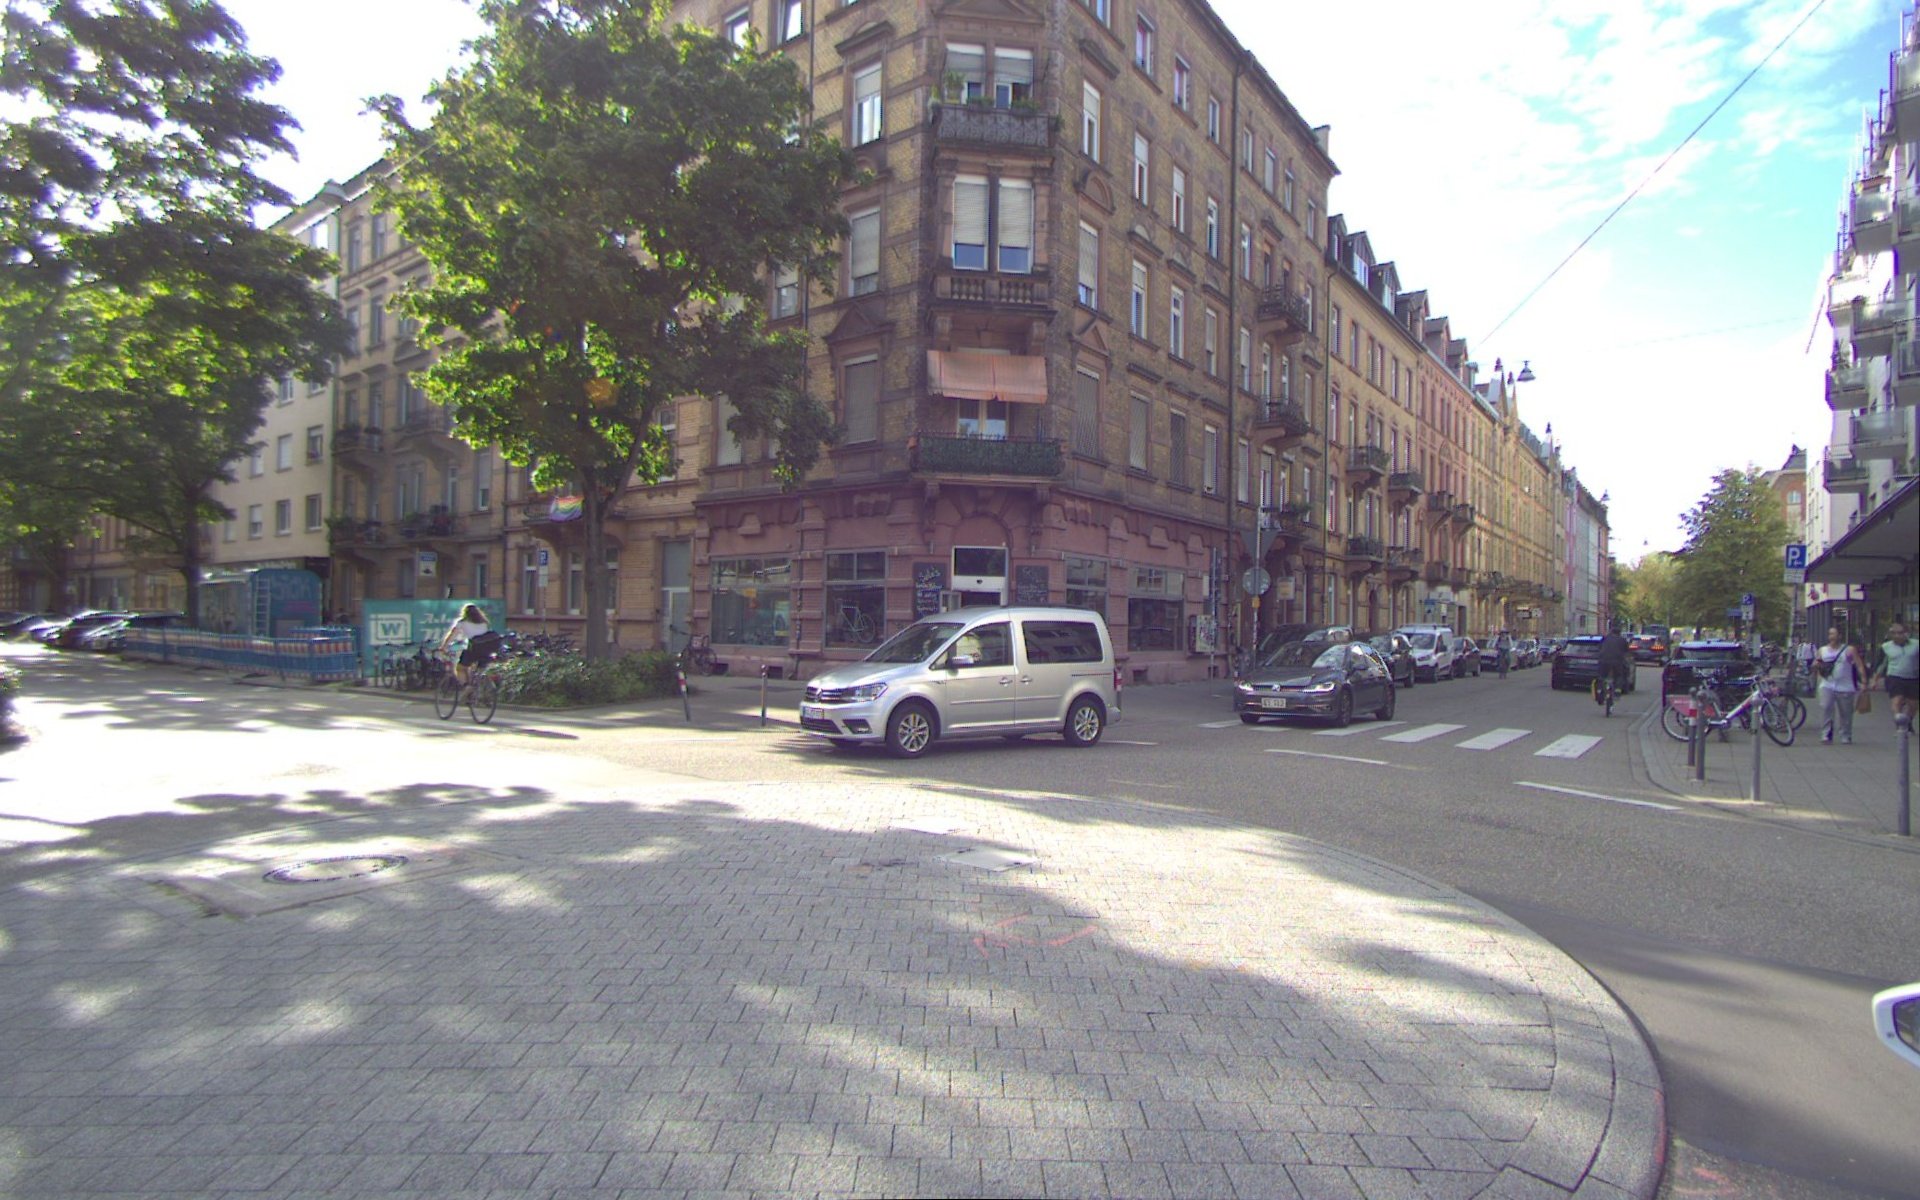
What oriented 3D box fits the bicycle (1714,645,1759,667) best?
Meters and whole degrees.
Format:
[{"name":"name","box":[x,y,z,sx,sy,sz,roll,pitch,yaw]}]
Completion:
[{"name":"bicycle","box":[39.494,2.863,51.127,1.741,1.070,0.410,-3,-2,33]}]

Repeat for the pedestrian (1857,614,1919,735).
[{"name":"pedestrian","box":[14.923,1.164,15.973,1.040,1.858,0.875,2,-3,-45]}]

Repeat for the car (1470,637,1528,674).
[{"name":"car","box":[24.496,2.479,45.595,1.719,1.503,3.968,2,-1,37]}]

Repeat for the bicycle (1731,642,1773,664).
[{"name":"bicycle","box":[43.680,2.920,55.413,0.493,1.174,1.789,0,-2,-26]}]

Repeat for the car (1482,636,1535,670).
[{"name":"car","box":[27.287,2.599,49.947,1.719,1.503,3.968,2,-1,37]}]

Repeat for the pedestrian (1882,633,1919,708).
[{"name":"pedestrian","box":[20.898,1.549,22.115,0.814,1.609,0.777,0,-2,39]}]

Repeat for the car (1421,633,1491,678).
[{"name":"car","box":[19.007,2.118,38.424,1.719,1.503,3.970,3,-1,36]}]

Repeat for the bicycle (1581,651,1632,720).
[{"name":"bicycle","box":[13.441,1.745,20.858,0.709,1.291,1.876,2,0,38]}]

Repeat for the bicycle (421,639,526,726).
[{"name":"bicycle","box":[-7.587,1.241,15.628,1.947,1.215,0.690,1,-1,39]}]

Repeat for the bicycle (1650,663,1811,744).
[{"name":"bicycle","box":[11.623,1.540,15.244,1.858,1.140,0.904,-3,-3,36]}]

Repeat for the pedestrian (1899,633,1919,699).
[{"name":"pedestrian","box":[27.469,1.885,28.734,0.635,1.885,0.706,1,-1,-23]}]

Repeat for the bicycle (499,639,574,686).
[{"name":"bicycle","box":[-10.083,1.467,23.874,2.041,1.025,0.590,0,0,32]}]

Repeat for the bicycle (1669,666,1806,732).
[{"name":"bicycle","box":[13.410,1.694,17.382,1.761,1.085,0.586,-2,-2,28]}]

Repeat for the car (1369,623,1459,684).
[{"name":"car","box":[15.505,1.756,34.191,1.895,1.896,4.421,1,-1,36]}]

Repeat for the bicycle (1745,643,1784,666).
[{"name":"bicycle","box":[41.266,2.782,51.539,1.477,1.161,0.410,-3,-2,38]}]

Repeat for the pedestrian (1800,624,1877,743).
[{"name":"pedestrian","box":[13.123,1.220,15.041,0.792,1.692,1.018,0,-3,38]}]

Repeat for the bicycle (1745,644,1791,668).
[{"name":"bicycle","box":[40.246,2.800,50.022,1.745,1.177,0.647,-3,-3,40]}]

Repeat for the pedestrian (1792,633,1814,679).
[{"name":"pedestrian","box":[33.032,2.183,39.349,0.604,1.749,1.122,-1,-1,38]}]

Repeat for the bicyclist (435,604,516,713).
[{"name":"bicyclist","box":[-7.517,0.877,15.571,1.110,1.608,0.690,1,-1,39]}]

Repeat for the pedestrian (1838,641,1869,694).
[{"name":"pedestrian","box":[27.745,2.082,31.201,0.636,1.609,0.777,-2,-3,39]}]

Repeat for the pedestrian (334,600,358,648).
[{"name":"pedestrian","box":[-23.771,0.938,38.873,0.512,1.842,0.622,0,-1,36]}]

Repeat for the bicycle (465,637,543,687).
[{"name":"bicycle","box":[-10.321,1.384,22.697,2.041,1.025,0.590,0,0,32]}]

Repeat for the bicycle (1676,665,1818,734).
[{"name":"bicycle","box":[13.111,1.649,16.803,1.761,1.085,0.568,-2,-2,28]}]

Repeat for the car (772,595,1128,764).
[{"name":"car","box":[-0.033,0.960,12.813,4.288,1.814,1.817,2,-3,-35]}]

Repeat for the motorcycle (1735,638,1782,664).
[{"name":"motorcycle","box":[47.561,3.052,59.856,2.127,1.550,0.682,-3,-3,42]}]

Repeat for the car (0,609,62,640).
[{"name":"car","box":[-51.354,1.323,54.225,1.806,1.591,3.985,2,0,37]}]

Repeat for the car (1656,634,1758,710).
[{"name":"car","box":[17.826,1.660,23.955,1.770,1.626,3.908,-3,-3,38]}]

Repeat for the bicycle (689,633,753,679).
[{"name":"bicycle","box":[-6.040,1.401,25.338,1.754,1.081,0.526,1,-1,37]}]

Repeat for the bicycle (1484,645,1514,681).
[{"name":"bicycle","box":[19.881,2.287,37.025,0.691,1.236,2.110,2,0,35]}]

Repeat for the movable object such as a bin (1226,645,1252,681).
[{"name":"movable object such as a bin","box":[5.952,1.340,21.420,0.377,0.723,0.474,2,0,33]}]

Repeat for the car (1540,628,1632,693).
[{"name":"car","box":[18.911,1.789,30.269,1.940,1.763,4.026,1,-2,38]}]

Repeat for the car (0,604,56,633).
[{"name":"car","box":[-55.829,1.085,58.836,1.806,1.591,3.985,2,0,37]}]

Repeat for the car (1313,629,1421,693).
[{"name":"car","box":[12.021,1.731,29.547,1.967,1.660,4.131,2,-1,36]}]

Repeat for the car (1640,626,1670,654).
[{"name":"car","box":[54.234,3.094,78.385,1.759,2.047,3.874,2,0,36]}]

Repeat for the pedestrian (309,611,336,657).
[{"name":"pedestrian","box":[-24.259,1.291,38.230,0.512,1.695,0.699,0,-1,36]}]

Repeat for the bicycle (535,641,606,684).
[{"name":"bicycle","box":[-9.869,1.568,25.407,2.041,0.981,0.590,0,0,32]}]

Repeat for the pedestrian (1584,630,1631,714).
[{"name":"pedestrian","box":[13.486,1.470,20.909,0.709,1.672,0.926,2,0,38]}]

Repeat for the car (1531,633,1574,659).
[{"name":"car","box":[35.338,2.719,59.858,1.669,1.405,3.851,2,0,38]}]

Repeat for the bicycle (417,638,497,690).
[{"name":"bicycle","box":[-10.928,1.369,21.807,2.041,1.043,0.590,0,0,32]}]

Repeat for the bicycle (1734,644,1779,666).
[{"name":"bicycle","box":[40.533,2.817,51.123,1.745,1.101,0.647,-3,-3,40]}]

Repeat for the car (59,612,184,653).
[{"name":"car","box":[-35.707,1.400,42.840,3.970,1.623,1.856,2,0,-42]}]

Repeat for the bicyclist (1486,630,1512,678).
[{"name":"bicyclist","box":[19.860,1.974,36.987,0.691,1.700,1.109,2,0,35]}]

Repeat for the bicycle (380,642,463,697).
[{"name":"bicycle","box":[-11.406,1.444,21.238,2.105,1.043,0.590,0,0,32]}]

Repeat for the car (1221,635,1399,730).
[{"name":"car","box":[6.223,1.382,17.590,1.769,1.456,3.984,-2,-4,38]}]

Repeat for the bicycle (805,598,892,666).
[{"name":"bicycle","box":[-2.609,0.726,23.452,2.128,1.541,0.555,0,-1,33]}]

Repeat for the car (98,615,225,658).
[{"name":"car","box":[-32.570,1.491,41.019,3.970,1.623,1.856,2,0,-42]}]

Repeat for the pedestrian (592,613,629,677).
[{"name":"pedestrian","box":[-9.095,1.161,26.128,0.798,1.599,0.611,2,3,44]}]

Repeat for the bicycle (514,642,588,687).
[{"name":"bicycle","box":[-10.046,1.563,24.646,2.041,0.981,0.590,0,0,32]}]
